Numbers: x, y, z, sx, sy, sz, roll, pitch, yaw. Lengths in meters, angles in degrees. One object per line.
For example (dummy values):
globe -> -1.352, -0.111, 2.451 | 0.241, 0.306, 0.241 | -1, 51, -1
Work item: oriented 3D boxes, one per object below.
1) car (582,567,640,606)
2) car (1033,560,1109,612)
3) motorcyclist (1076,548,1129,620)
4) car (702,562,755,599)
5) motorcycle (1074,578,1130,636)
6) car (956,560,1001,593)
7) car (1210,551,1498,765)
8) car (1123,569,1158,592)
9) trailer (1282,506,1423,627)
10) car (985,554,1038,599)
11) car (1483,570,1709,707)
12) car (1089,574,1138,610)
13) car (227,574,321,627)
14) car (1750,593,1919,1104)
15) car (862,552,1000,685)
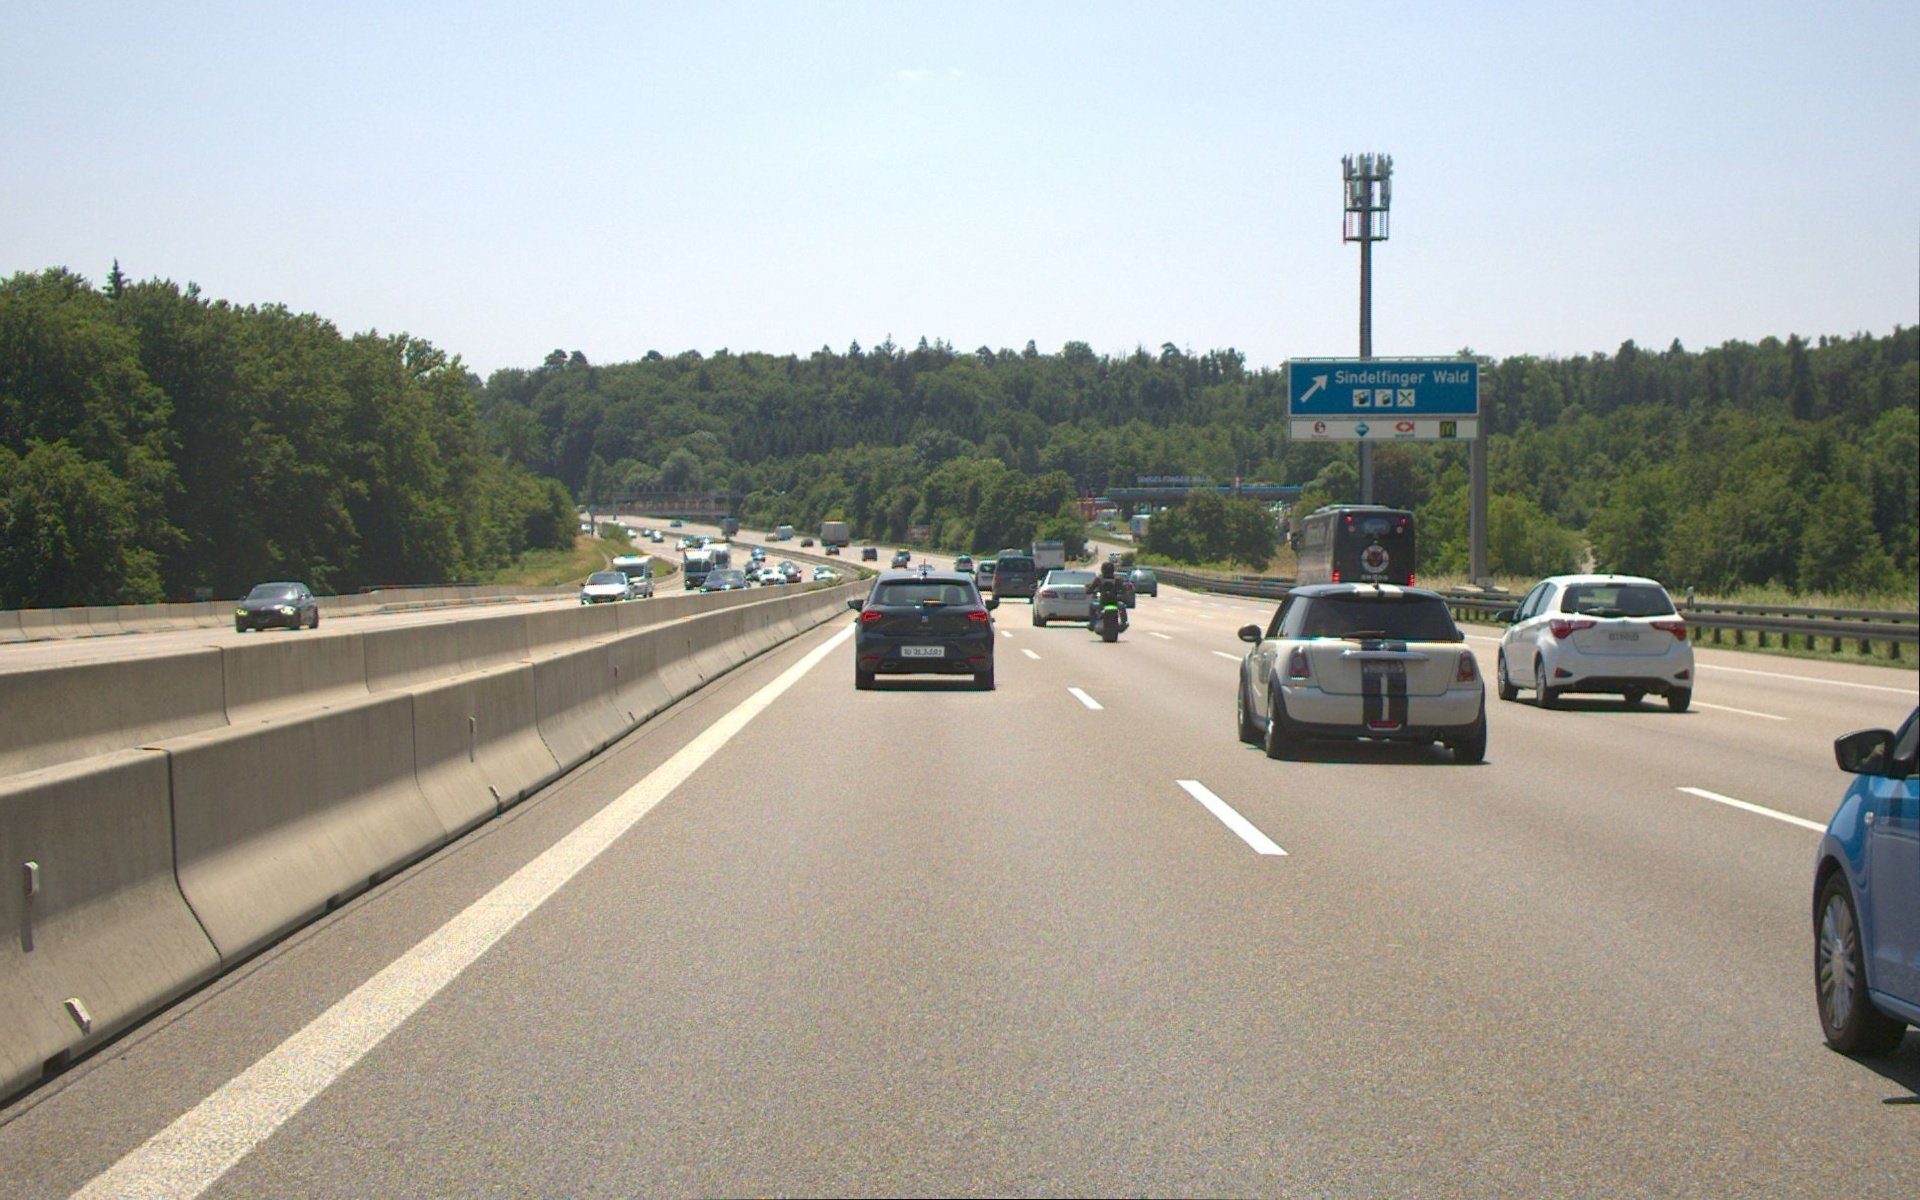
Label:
car -> -12.962, -0.516, 127.723 | 1.838, 1.436, 4.000 | 0, 1, -1
car -> 2.806, -0.365, 87.568 | 1.782, 1.261, 3.460 | -1, 1, 0
motorcyclist -> 2.886, -0.330, 69.697 | 0.962, 1.432, 1.235 | -1, 1, -2
car -> -9.010, -0.773, 134.098 | 1.838, 1.436, 4.845 | 0, 1, -1
motorcycle -> 2.876, 0.134, 69.789 | 0.977, 1.125, 2.271 | -1, 1, -1
car -> 0.972, -1.268, 185.081 | 1.993, 1.678, 4.424 | 1, 1, -5
car -> 3.156, 0.430, 28.277 | 1.841, 1.547, 4.000 | 3, 0, 0
car -> 9.853, -1.063, 188.177 | 1.608, 1.208, 3.460 | -1, 0, -2
trailer -> 12.594, -1.041, 111.476 | 2.857, 3.675, 13.543 | -1, 0, -1
car -> 2.174, -1.000, 146.475 | 2.097, 1.845, 4.081 | -1, 1, -1
car -> 7.189, 0.391, 39.237 | 1.666, 1.428, 4.376 | -1, 1, -1
car -> 6.099, -0.335, 136.902 | 1.675, 1.427, 3.685 | 0, 0, -2
car -> -19.969, -0.009, 100.230 | 1.839, 1.436, 4.764 | -2, 1, -1
car -> 3.559, 0.710, 9.660 | 1.737, 1.406, 4.000 | 0, 1, 0
car -> -0.351, 0.192, 42.718 | 1.624, 1.482, 3.685 | 1, 2, 0
